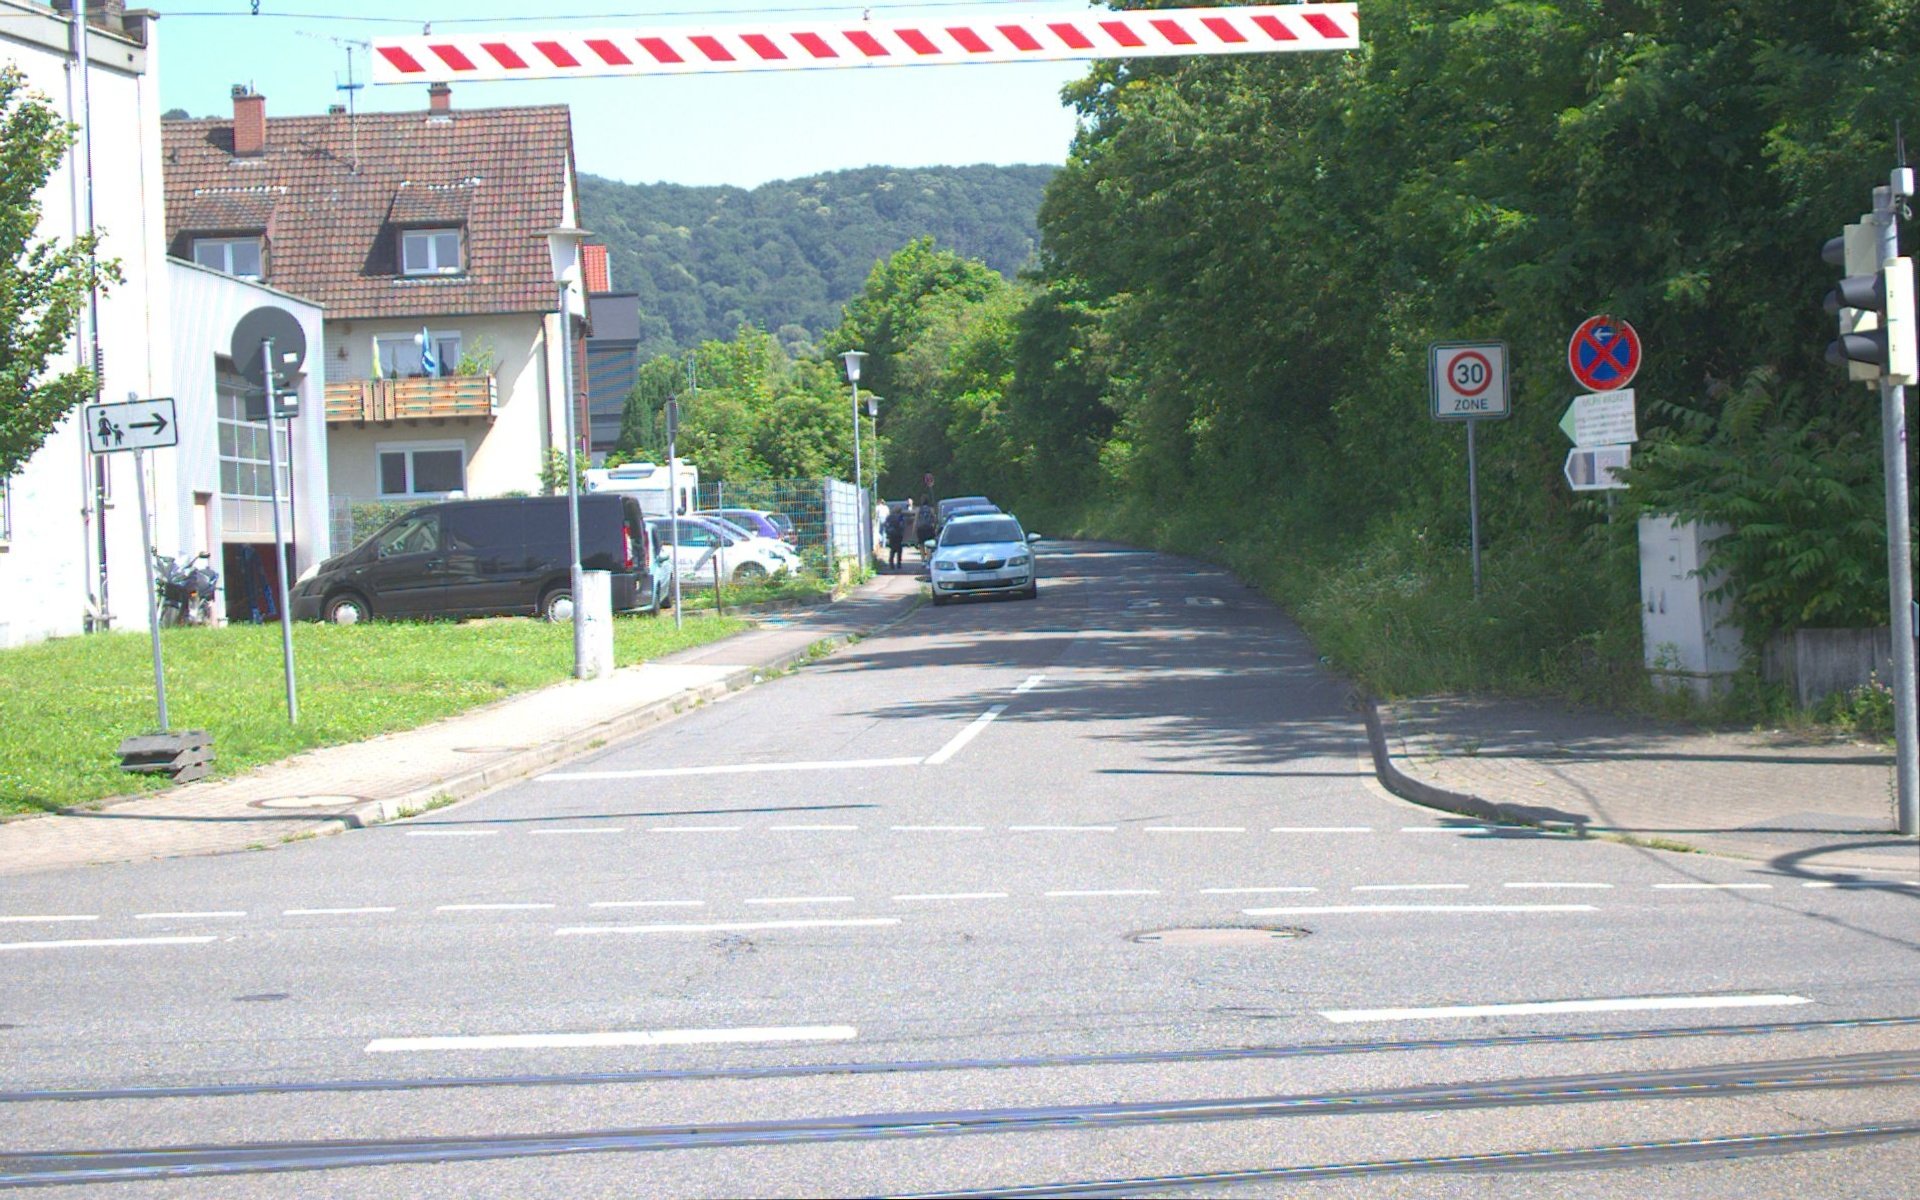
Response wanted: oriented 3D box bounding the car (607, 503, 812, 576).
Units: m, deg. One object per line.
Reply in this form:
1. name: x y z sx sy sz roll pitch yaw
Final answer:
1. car: -4.799 -1.146 66.094 3.721 1.367 1.604 0 0 5

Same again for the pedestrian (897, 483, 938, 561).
1. pedestrian: -0.966 -1.779 78.368 0.876 1.757 0.731 0 0 3

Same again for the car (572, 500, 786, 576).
1. car: -5.164 -1.134 63.418 3.721 1.367 1.604 0 0 5

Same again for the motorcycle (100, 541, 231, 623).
1. motorcycle: -10.259 -0.226 44.491 0.852 1.028 2.566 0 0 6

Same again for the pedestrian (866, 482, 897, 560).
1. pedestrian: -1.792 -1.788 78.281 0.654 1.757 0.804 0 0 3

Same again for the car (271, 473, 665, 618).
1. car: -7.018 -0.779 49.407 5.248 1.810 2.000 -2 1 2

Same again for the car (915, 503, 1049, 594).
1. car: 0.425 -0.927 59.630 2.087 1.505 4.539 0 2 3
